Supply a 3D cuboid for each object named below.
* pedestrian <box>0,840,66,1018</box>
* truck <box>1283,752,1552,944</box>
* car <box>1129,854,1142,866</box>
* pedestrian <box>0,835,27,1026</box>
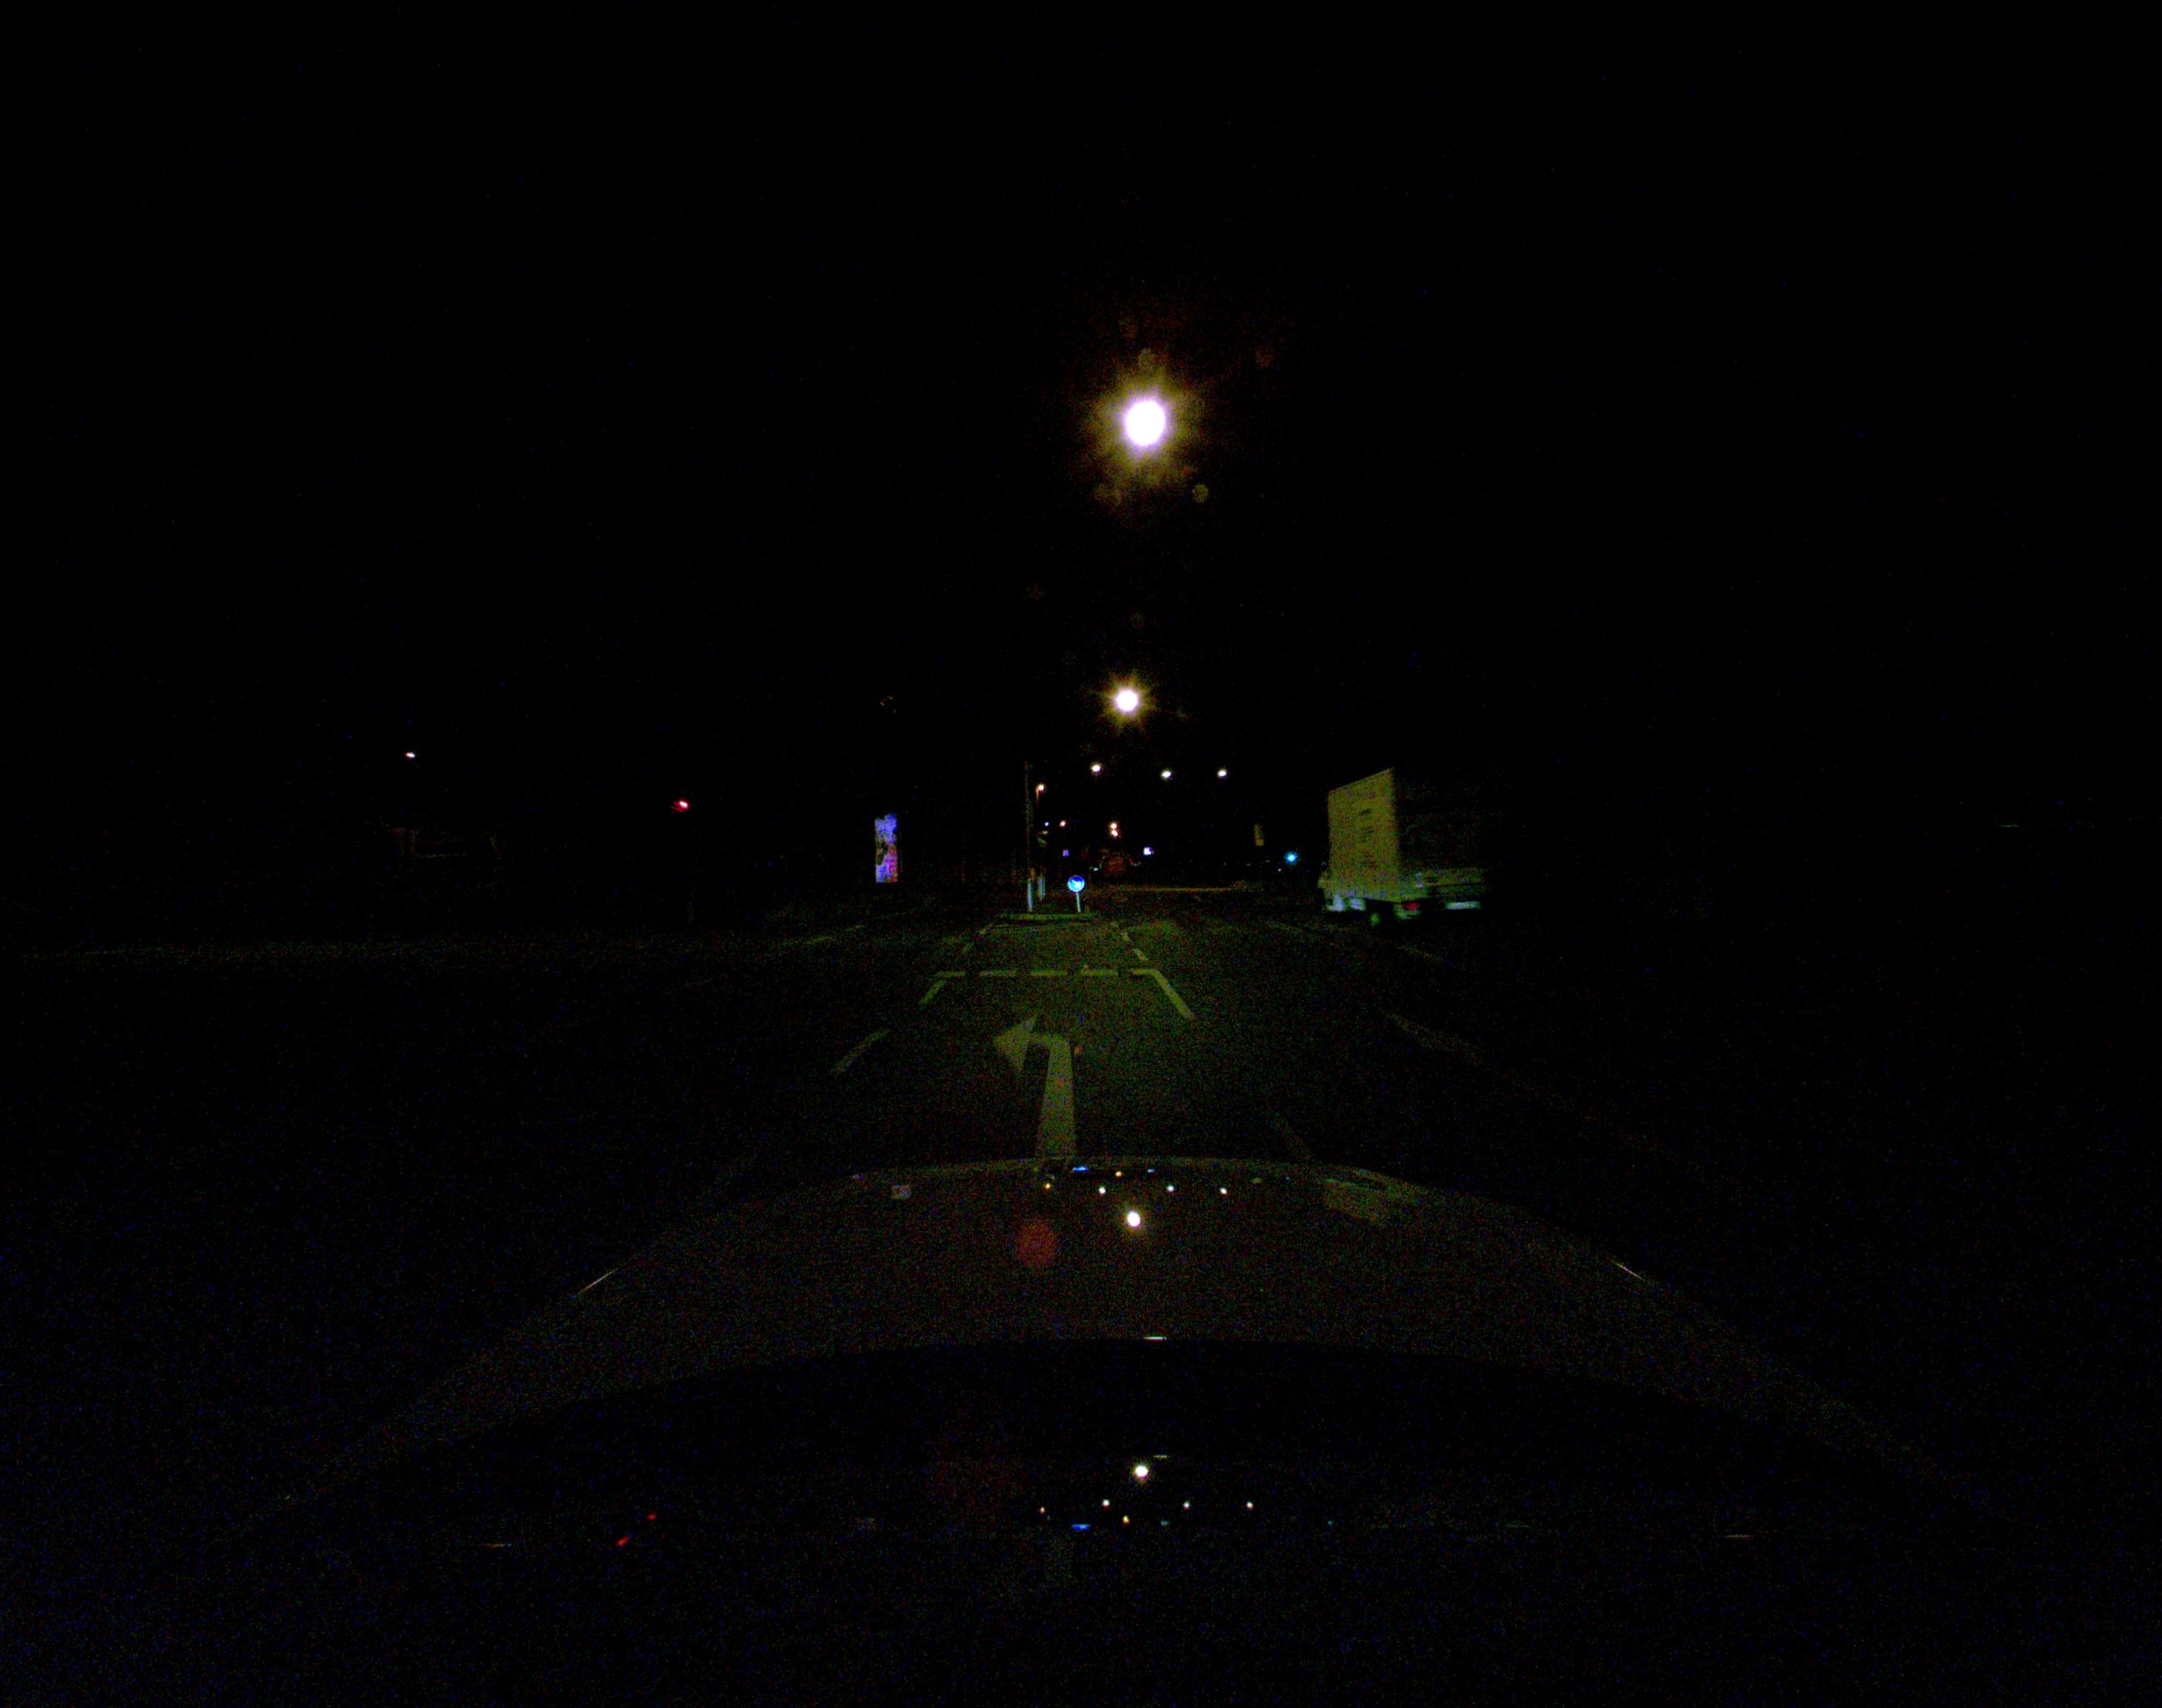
[{"bbox_3d":[-11.237,0.744,8.259,0.957,1.769,0.730,0,-1,6],"label":"pedestrian"},{"bbox_3d":[6.483,-0.061,17.110,2.753,3.044,7.038,-3,-1,2],"label":"truck"},{"bbox_3d":[8.396,0.982,125.617,1.986,1.769,4.002,-1,0,2],"label":"car"},{"bbox_3d":[-10.493,0.717,7.636,0.684,1.792,0.526,0,-1,20],"label":"pedestrian"}]
